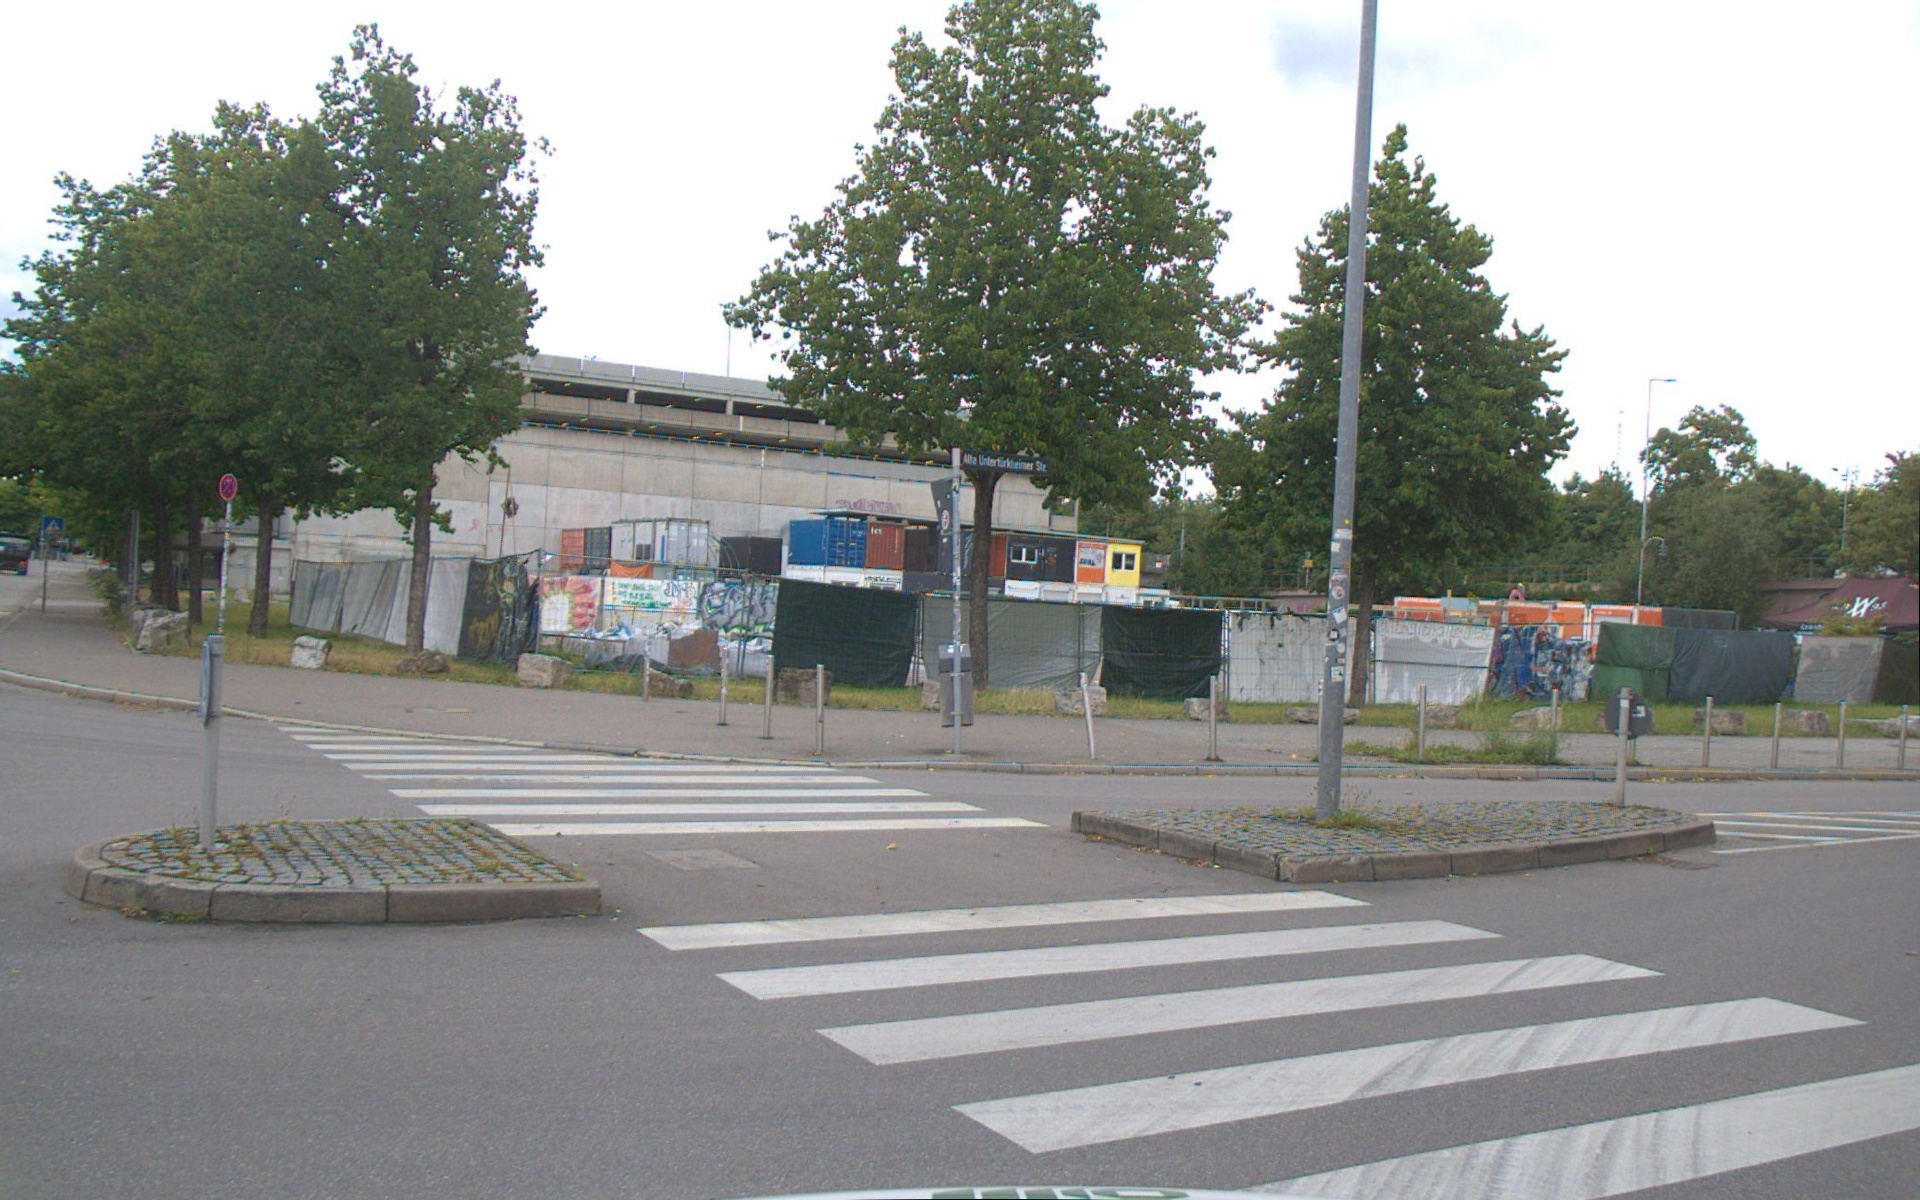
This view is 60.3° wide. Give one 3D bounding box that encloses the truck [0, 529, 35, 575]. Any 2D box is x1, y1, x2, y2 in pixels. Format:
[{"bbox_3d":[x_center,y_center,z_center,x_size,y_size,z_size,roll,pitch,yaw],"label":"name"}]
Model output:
[{"bbox_3d":[-77.510,-3.874,135.864,2.644,3.620,7.847,0,0,-29],"label":"truck"}]
